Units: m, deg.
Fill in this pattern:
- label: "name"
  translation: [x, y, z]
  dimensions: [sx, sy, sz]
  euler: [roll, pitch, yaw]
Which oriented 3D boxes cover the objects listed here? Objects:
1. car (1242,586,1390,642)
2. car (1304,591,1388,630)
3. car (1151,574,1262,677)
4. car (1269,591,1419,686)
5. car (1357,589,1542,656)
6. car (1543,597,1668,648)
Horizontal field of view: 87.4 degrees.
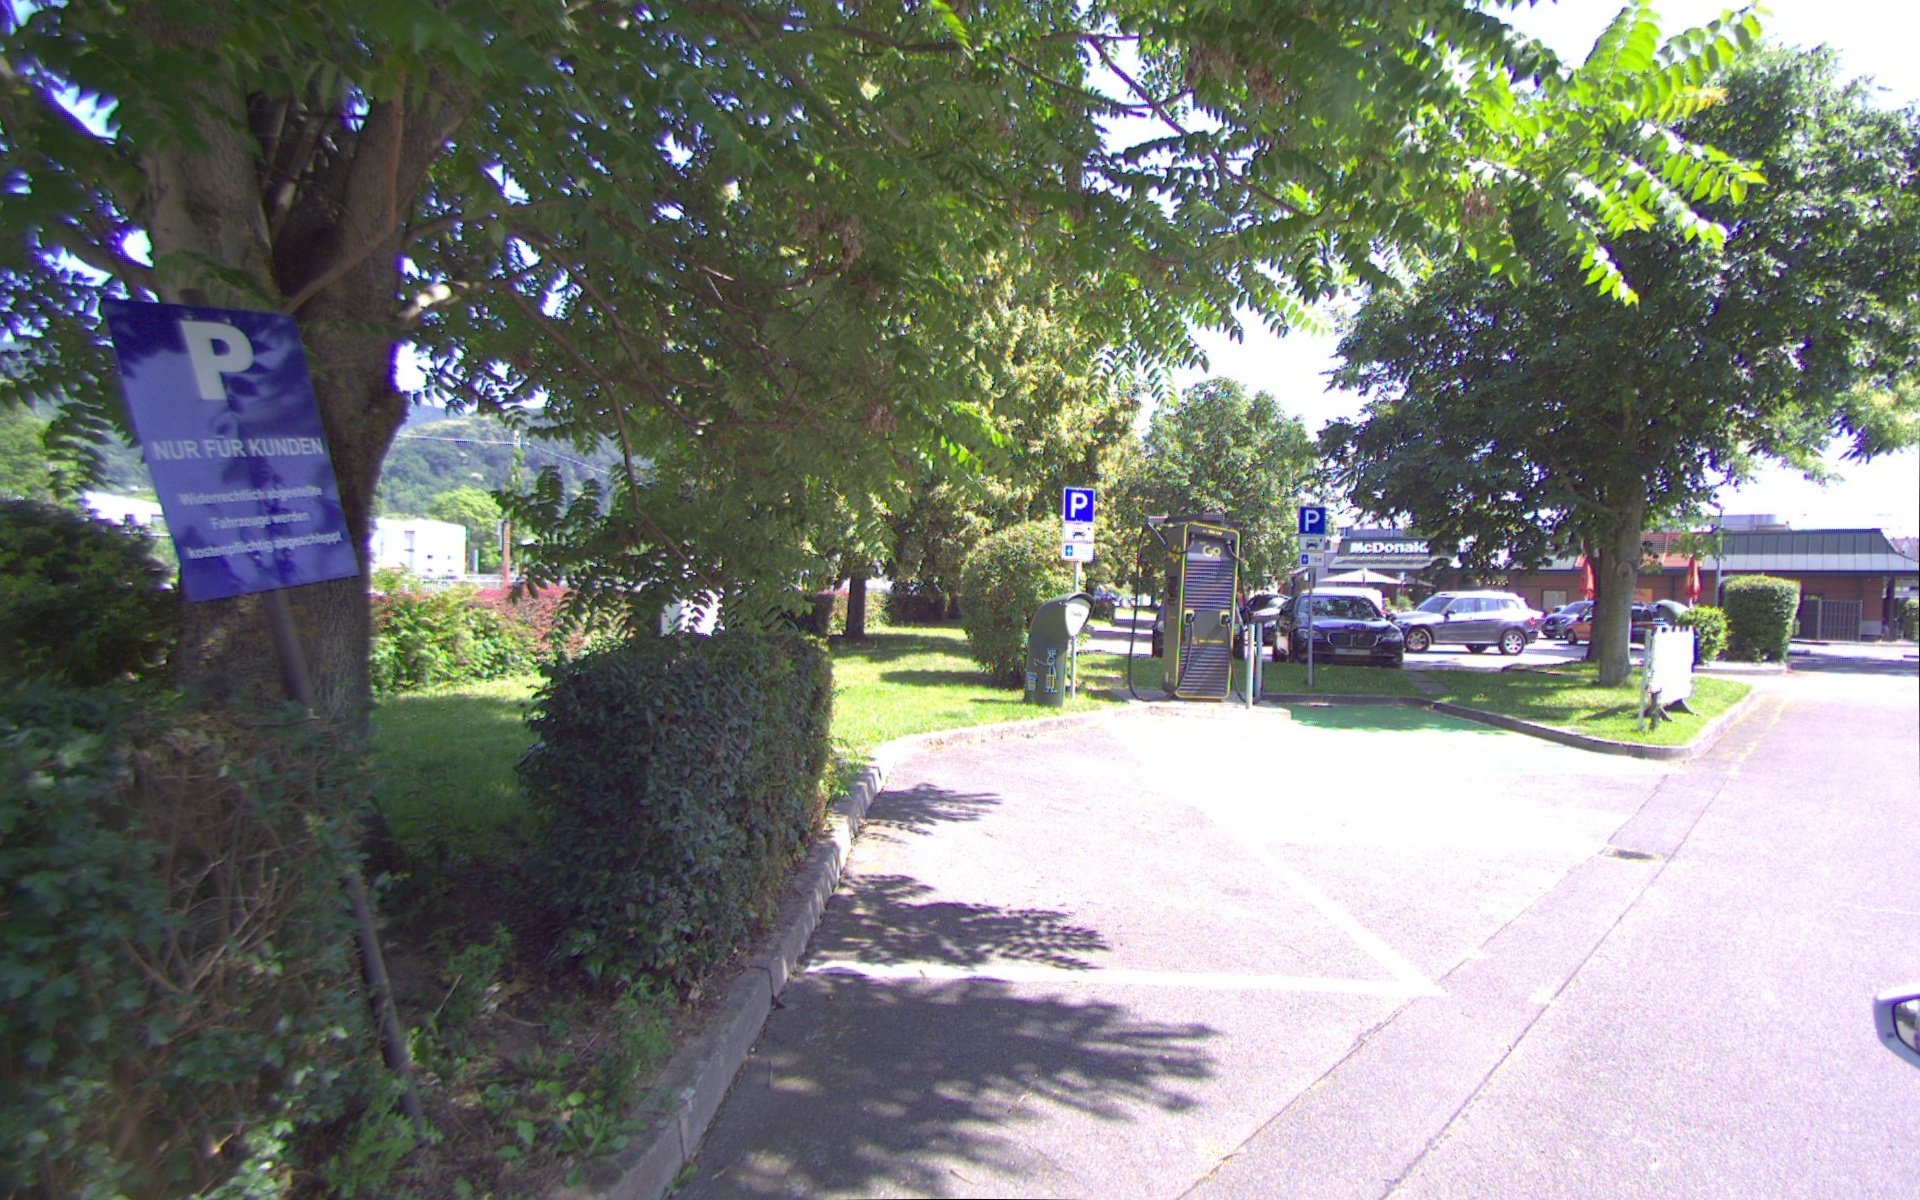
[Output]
- label: "car"
  translation: [11.799, 0.449, 33.476]
  dimensions: [4.229, 1.708, 1.861]
  euler: [1, 1, -3]
- label: "car"
  translation: [16.794, 0.432, 43.880]
  dimensions: [1.884, 1.573, 4.140]
  euler: [1, 1, -3]
- label: "car"
  translation: [4.764, 0.433, 19.937]
  dimensions: [1.824, 1.708, 4.369]
  euler: [3, 1, 11]
- label: "car"
  translation: [7.082, 0.620, 18.982]
  dimensions: [1.824, 1.472, 4.369]
  euler: [3, 1, 11]
- label: "car"
  translation: [13.724, 0.618, 28.299]
  dimensions: [4.284, 1.708, 1.861]
  euler: [1, 1, -4]
- label: "car"
  translation: [23.890, 0.783, 37.399]
  dimensions: [1.826, 1.708, 4.366]
  euler: [-1, 1, -1]
